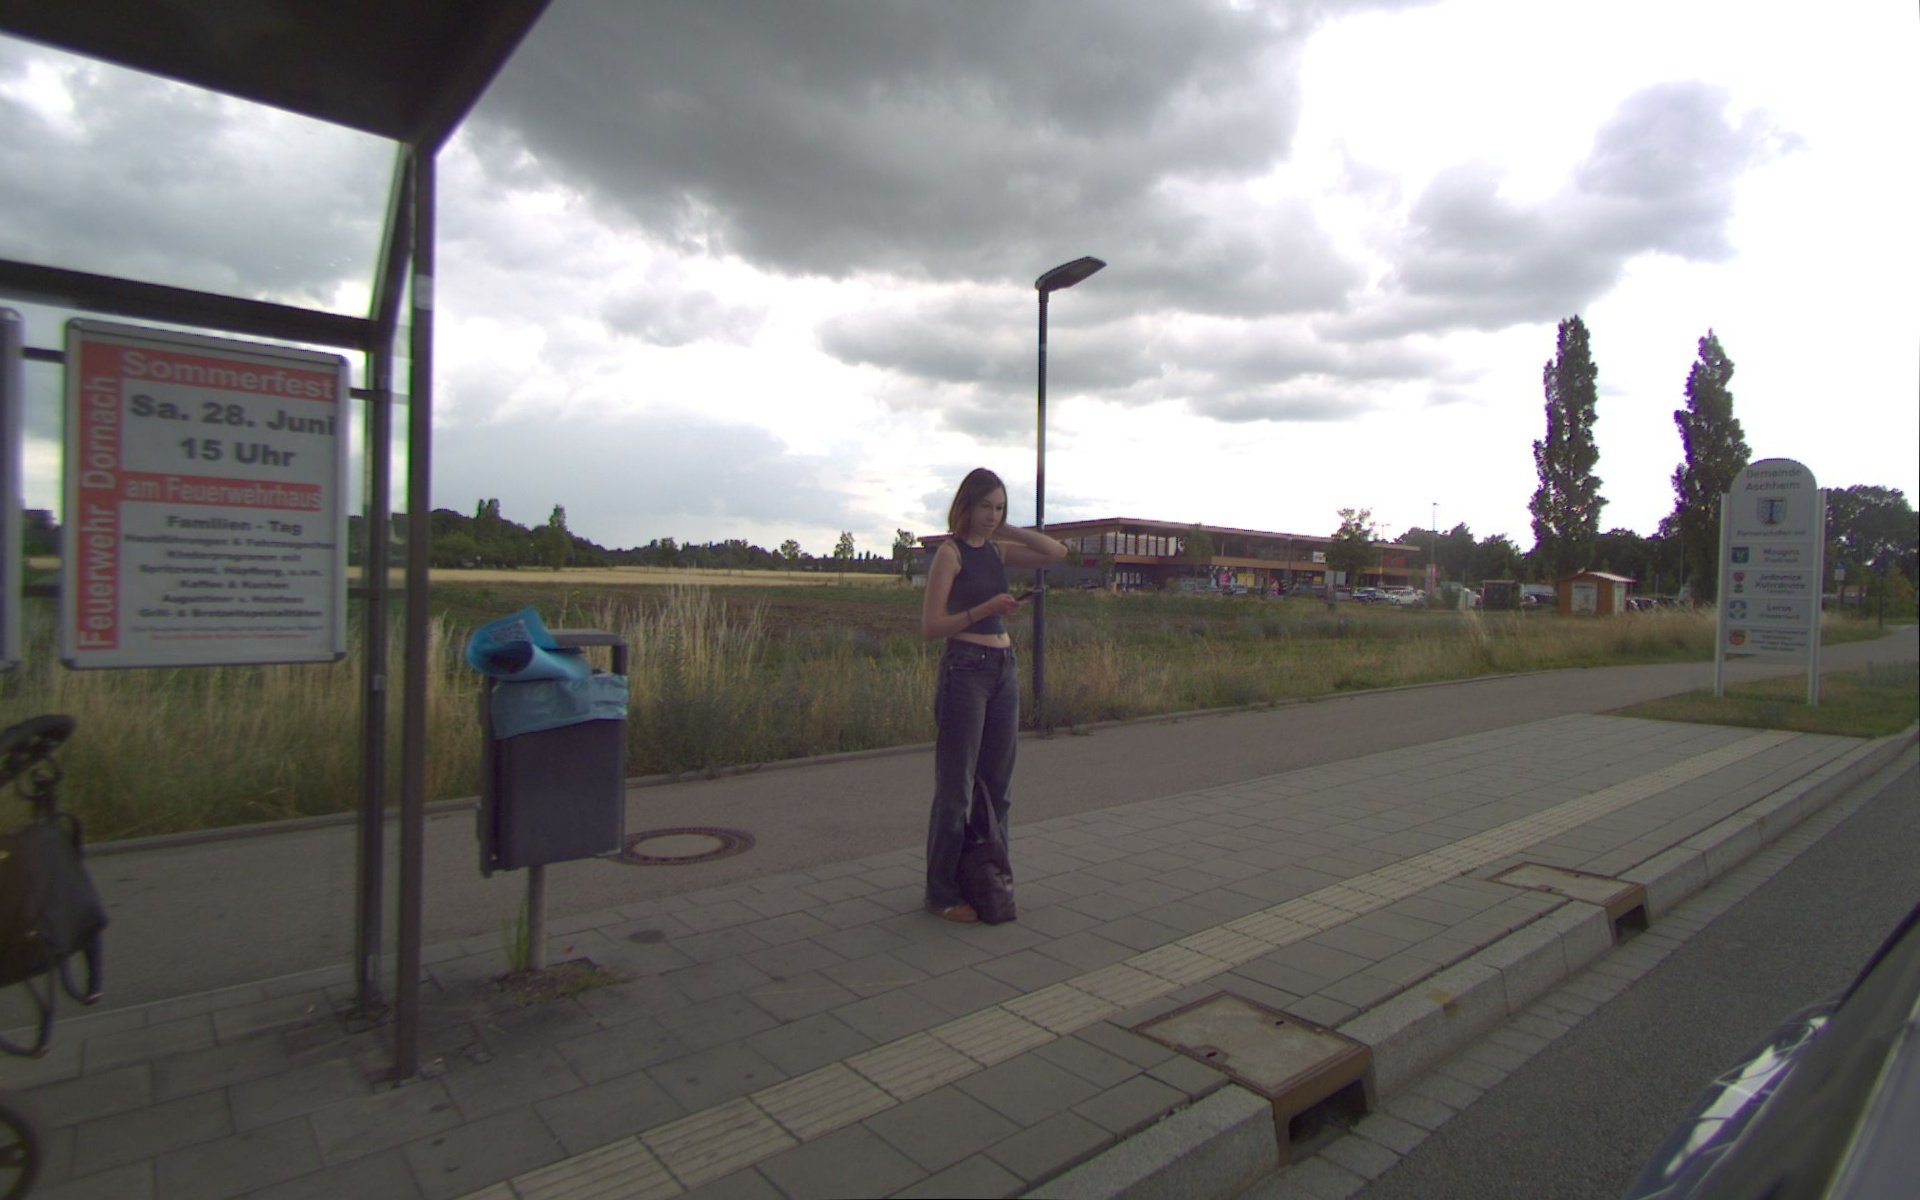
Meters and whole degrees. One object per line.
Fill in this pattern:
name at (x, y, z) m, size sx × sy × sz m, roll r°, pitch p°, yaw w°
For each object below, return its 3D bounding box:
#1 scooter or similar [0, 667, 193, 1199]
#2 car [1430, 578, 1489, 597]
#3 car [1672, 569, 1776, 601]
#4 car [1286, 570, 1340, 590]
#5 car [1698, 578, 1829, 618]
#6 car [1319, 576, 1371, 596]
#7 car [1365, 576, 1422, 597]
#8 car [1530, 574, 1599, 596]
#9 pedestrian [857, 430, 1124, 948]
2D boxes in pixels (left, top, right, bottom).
scooter or similar at (-2.084, 0.684, 1.709) m, size 1.039 × 1.075 × 0.709 m, roll 0°, pitch 0°, yaw -4°
car at (54.420, -1.353, 110.343) m, size 5.509 × 2.039 × 1.969 m, roll 0°, pitch 1°, yaw 44°
car at (52.082, -1.012, 69.046) m, size 5.509 × 2.039 × 1.969 m, roll 0°, pitch 1°, yaw 44°
car at (36.065, -2.005, 103.535) m, size 4.840 × 2.039 × 1.970 m, roll 0°, pitch 1°, yaw 42°
car at (43.790, -0.130, 55.260) m, size 1.964 × 2.039 × 5.311 m, roll -1°, pitch 1°, yaw -39°
car at (41.009, -1.458, 107.817) m, size 4.840 × 2.039 × 1.970 m, roll 0°, pitch 1°, yaw 42°
car at (43.059, -1.375, 100.634) m, size 4.840 × 2.039 × 1.970 m, roll 0°, pitch 1°, yaw 42°
car at (58.556, -1.449, 98.066) m, size 5.509 × 2.039 × 1.969 m, roll 0°, pitch 1°, yaw 44°
pedestrian at (0.104, 0.307, 4.080) m, size 0.763 × 1.815 × 0.784 m, roll 0°, pitch 0°, yaw -31°
